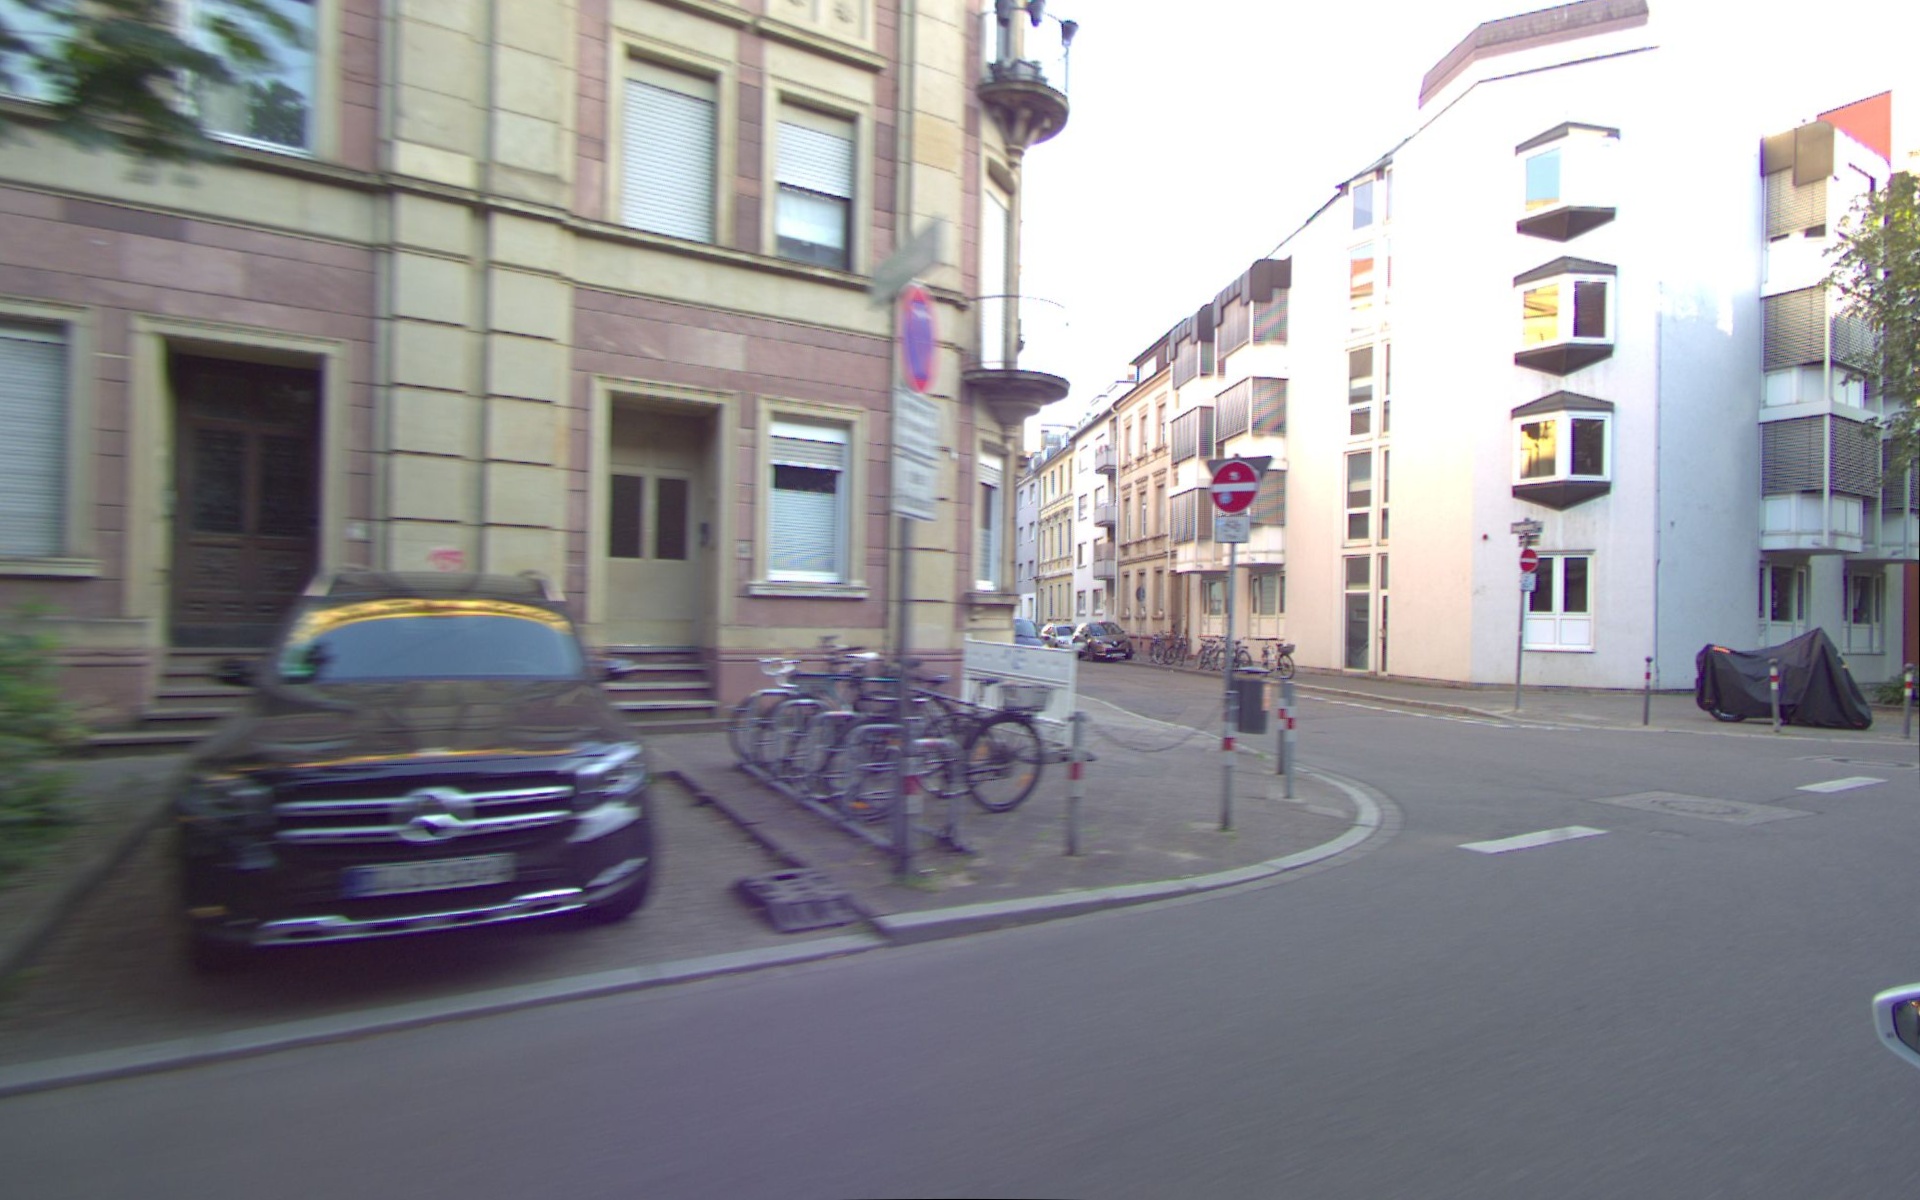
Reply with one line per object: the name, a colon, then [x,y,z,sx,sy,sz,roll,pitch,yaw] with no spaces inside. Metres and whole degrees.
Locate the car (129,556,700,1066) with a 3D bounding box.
car: [-2.942,0.668,5.677,1.849,1.673,4.407,1,1,-28]

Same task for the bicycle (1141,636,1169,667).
bicycle: [7.307,1.931,37.675,0.604,1.122,1.799,-1,-2,-4]

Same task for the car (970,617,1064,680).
car: [1.614,1.394,29.876,1.963,1.612,4.141,4,-2,-7]

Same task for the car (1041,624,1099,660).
car: [5.177,1.972,47.838,1.790,1.532,4.141,2,-1,-8]

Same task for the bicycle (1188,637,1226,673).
bicycle: [8.061,1.773,32.821,0.628,1.122,1.799,-1,-2,-6]

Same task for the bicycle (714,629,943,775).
bicycle: [-1.100,0.865,8.632,1.840,1.122,0.514,4,1,-30]

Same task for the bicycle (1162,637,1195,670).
bicycle: [7.649,1.854,35.261,0.574,1.122,1.799,-1,-2,-6]

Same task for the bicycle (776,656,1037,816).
bicycle: [-0.364,0.977,7.429,1.840,1.032,0.520,4,1,-30]

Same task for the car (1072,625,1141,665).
car: [6.081,1.859,42.194,1.767,1.559,4.141,2,-1,-8]

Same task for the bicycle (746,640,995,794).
bicycle: [-0.699,0.916,8.091,1.840,1.077,0.665,4,1,-30]

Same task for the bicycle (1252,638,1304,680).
bicycle: [8.862,1.640,28.092,0.573,1.122,1.796,0,-2,-11]

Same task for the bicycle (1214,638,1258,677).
bicycle: [8.270,1.711,30.162,0.491,1.122,1.796,0,-2,-11]

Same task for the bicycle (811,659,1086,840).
bicycle: [-0.042,0.983,6.910,1.842,1.073,0.519,4,1,-33]

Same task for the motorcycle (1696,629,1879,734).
motorcycle: [13.099,1.238,15.954,2.184,1.501,0.854,0,0,42]
